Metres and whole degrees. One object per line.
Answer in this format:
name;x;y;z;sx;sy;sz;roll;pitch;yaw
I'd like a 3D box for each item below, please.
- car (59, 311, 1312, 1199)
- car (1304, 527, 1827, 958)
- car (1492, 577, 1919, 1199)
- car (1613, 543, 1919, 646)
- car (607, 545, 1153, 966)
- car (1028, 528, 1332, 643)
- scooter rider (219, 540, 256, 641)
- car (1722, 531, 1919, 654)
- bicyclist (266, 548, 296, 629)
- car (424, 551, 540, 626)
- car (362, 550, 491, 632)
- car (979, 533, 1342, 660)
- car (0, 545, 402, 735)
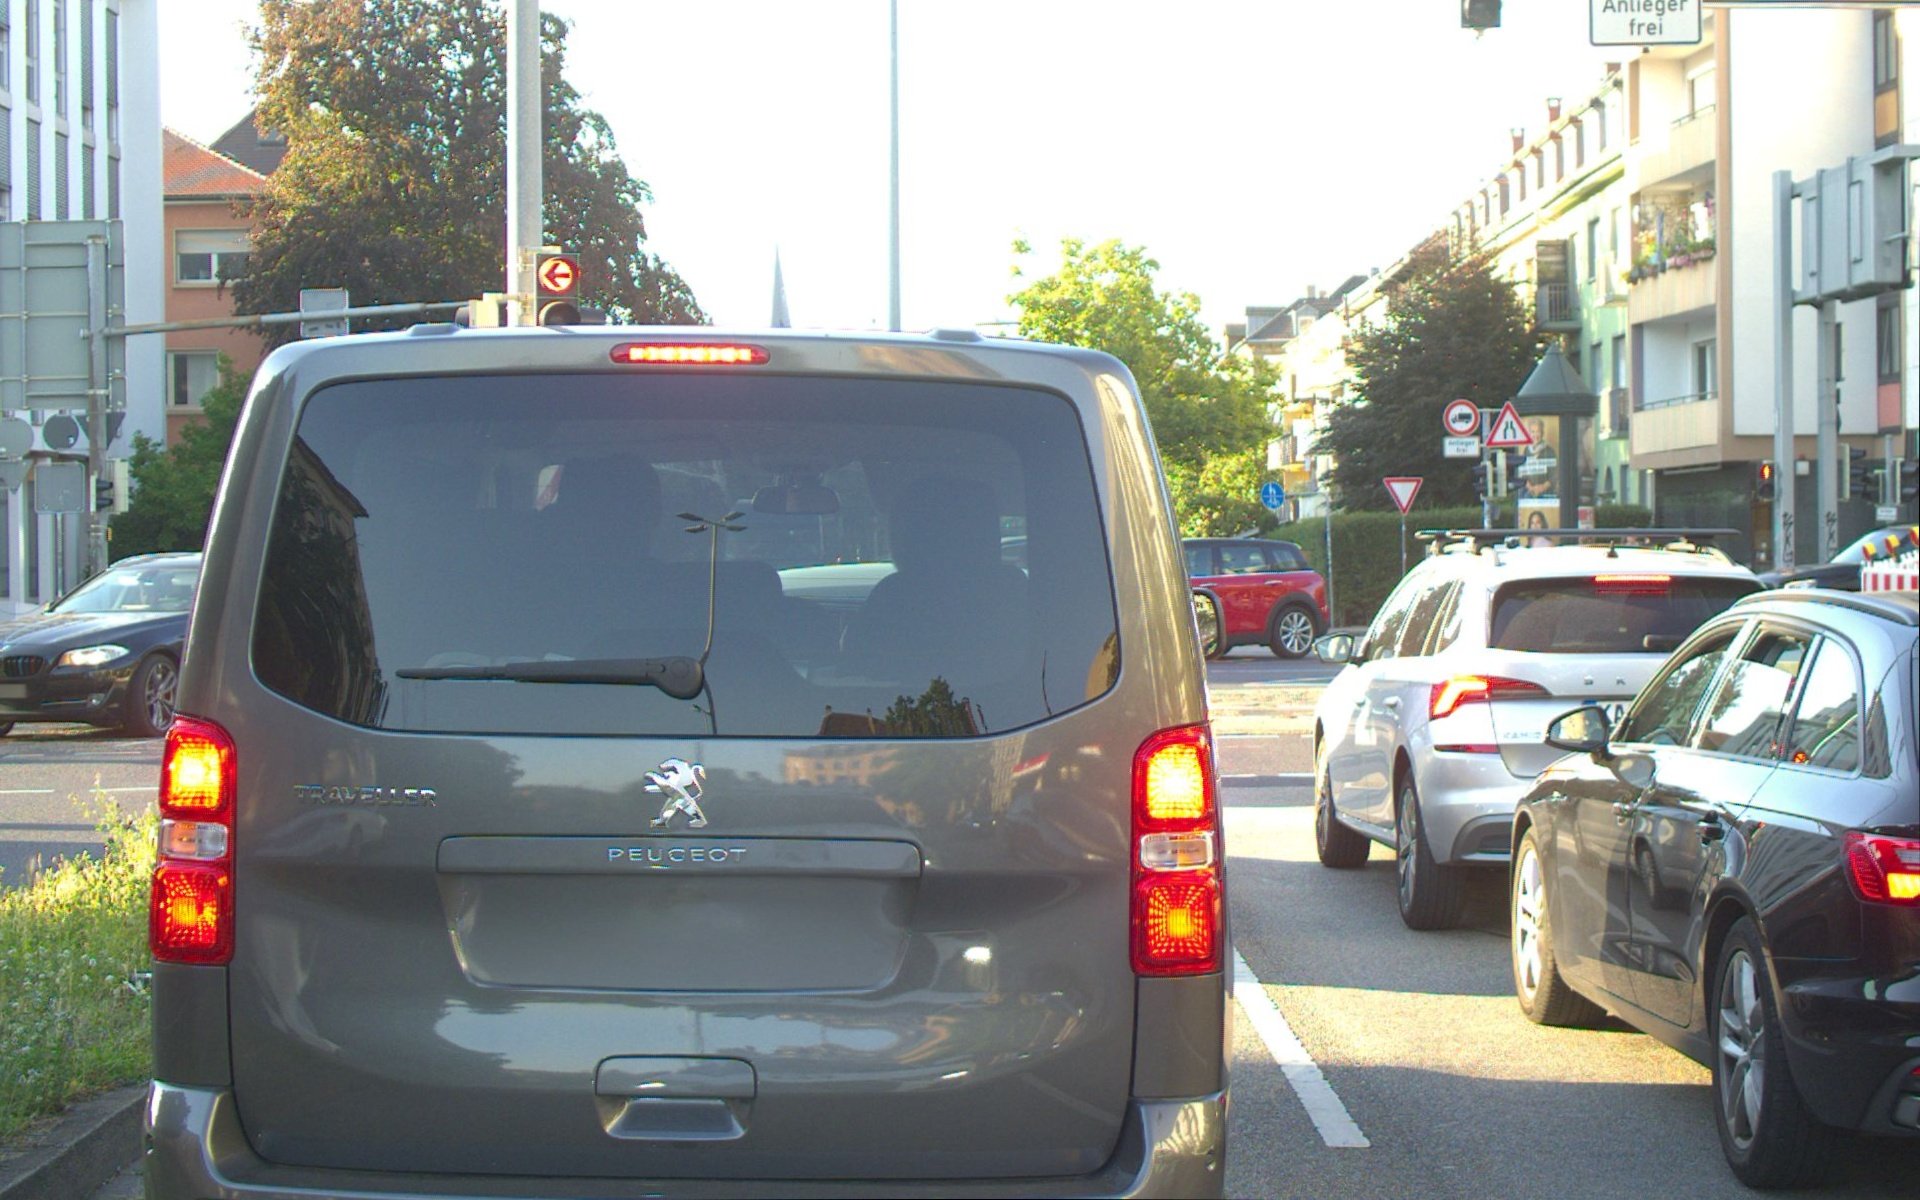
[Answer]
car;-0.454;0.462;7.562;1.907;1.857;4.527;1;1;-1
car;2.478;0.507;14.876;1.528;1.608;3.745;1;1;-1
car;2.630;0.683;9.217;1.681;1.416;4.214;1;1;-1
car;11.104;-0.093;47.281;3.815;1.349;1.727;-1;1;-8
car;-0.316;0.539;14.622;1.993;1.525;4.000;0;1;-1
car;3.141;-0.223;49.537;4.117;1.588;1.796;-1;1;-5
scooter rider;-12.256;-0.165;58.322;0.481;1.691;0.636;0;1;-1
car;11.909;-0.124;43.831;3.986;1.511;1.682;-1;1;-19
bicyclist;-12.813;-0.221;64.835;0.462;1.516;0.469;0;1;-1
car;-9.433;-0.256;68.097;1.856;1.415;4.001;-1;1;-2
car;-9.649;-0.184;62.435;1.856;1.415;4.001;-1;1;-2
car;2.382;-0.065;40.624;3.986;1.413;1.682;-1;1;-29
car;-6.630;0.283;28.886;1.699;1.437;4.236;0;1;26
